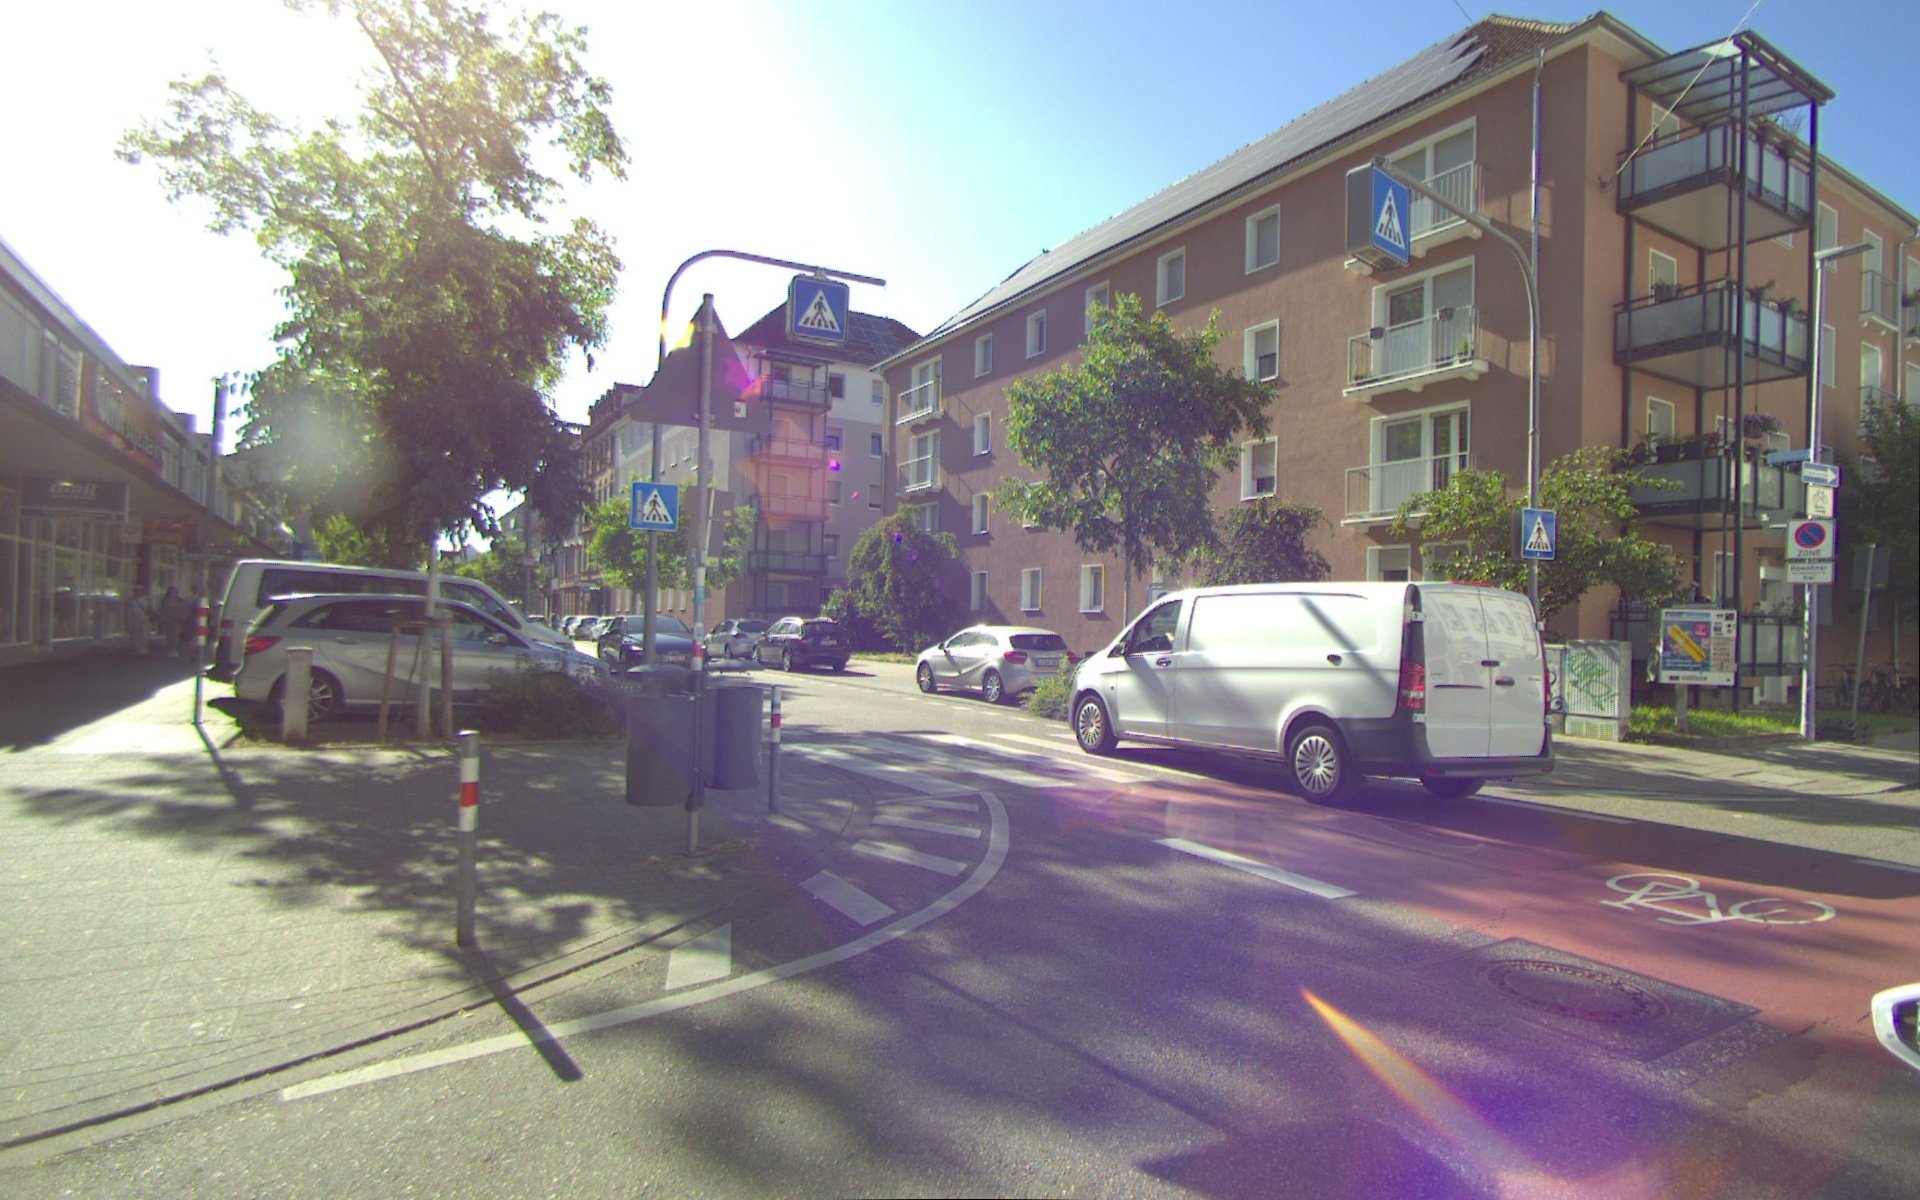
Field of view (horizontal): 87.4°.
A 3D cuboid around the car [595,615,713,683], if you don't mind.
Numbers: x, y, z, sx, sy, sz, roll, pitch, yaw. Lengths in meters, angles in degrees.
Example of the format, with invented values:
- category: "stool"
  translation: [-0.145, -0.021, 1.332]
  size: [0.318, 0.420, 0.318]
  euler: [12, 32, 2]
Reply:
- category: "car"
  translation: [-7.542, 1.115, 24.458]
  size: [1.892, 1.473, 4.544]
  euler: [1, -1, -28]

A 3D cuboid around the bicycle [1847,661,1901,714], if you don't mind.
- category: "bicycle"
  translation: [19.987, 1.896, 21.980]
  size: [0.248, 1.085, 1.217]
  euler: [1, -1, 9]

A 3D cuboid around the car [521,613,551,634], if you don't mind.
- category: "car"
  translation: [-32.751, 1.795, 77.560]
  size: [1.725, 1.539, 3.827]
  euler: [2, -2, -30]

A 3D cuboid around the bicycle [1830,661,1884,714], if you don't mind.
- category: "bicycle"
  translation: [19.665, 1.895, 22.042]
  size: [0.261, 1.086, 1.217]
  euler: [1, -1, 9]

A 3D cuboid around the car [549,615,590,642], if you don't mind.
- category: "car"
  translation: [-23.461, 1.702, 60.215]
  size: [1.725, 1.539, 3.827]
  euler: [2, -2, -30]

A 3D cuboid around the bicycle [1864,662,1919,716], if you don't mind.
- category: "bicycle"
  translation: [20.300, 1.919, 21.903]
  size: [0.248, 1.086, 1.217]
  euler: [1, -1, 9]

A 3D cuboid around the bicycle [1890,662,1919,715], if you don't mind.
- category: "bicycle"
  translation: [20.569, 1.900, 21.565]
  size: [0.248, 1.086, 1.221]
  euler: [1, -1, 9]

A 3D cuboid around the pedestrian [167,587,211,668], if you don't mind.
- category: "pedestrian"
  translation: [-16.684, 0.591, 21.743]
  size: [0.559, 1.688, 0.707]
  euler: [4, -2, -29]

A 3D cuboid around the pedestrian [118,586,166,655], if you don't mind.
- category: "pedestrian"
  translation: [-18.782, 0.482, 23.083]
  size: [0.681, 1.541, 0.528]
  euler: [4, -2, -29]

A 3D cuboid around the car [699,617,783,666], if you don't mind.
- category: "car"
  translation: [-7.593, 1.400, 34.617]
  size: [1.725, 1.539, 3.827]
  euler: [2, -2, -30]

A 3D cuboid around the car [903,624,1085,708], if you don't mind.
- category: "car"
  translation: [0.567, 1.254, 20.301]
  size: [1.726, 1.473, 4.121]
  euler: [2, -2, -31]

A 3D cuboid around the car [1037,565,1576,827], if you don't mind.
- category: "car"
  translation: [3.028, 0.766, 10.316]
  size: [2.079, 1.933, 5.391]
  euler: [2, -1, -25]

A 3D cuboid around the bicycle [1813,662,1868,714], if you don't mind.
- category: "bicycle"
  translation: [19.350, 1.918, 22.092]
  size: [0.285, 1.049, 1.217]
  euler: [1, -1, 9]

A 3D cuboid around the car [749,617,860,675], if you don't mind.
- category: "car"
  translation: [-4.599, 1.288, 29.142]
  size: [1.768, 1.539, 4.275]
  euler: [2, -2, -30]

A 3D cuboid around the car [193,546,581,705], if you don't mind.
- category: "car"
  translation: [-8.395, 0.466, 15.087]
  size: [4.695, 2.032, 1.942]
  euler: [4, -2, -33]

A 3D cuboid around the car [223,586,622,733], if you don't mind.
- category: "car"
  translation: [-6.784, 0.739, 13.011]
  size: [4.256, 1.634, 1.743]
  euler: [2, -2, -32]
